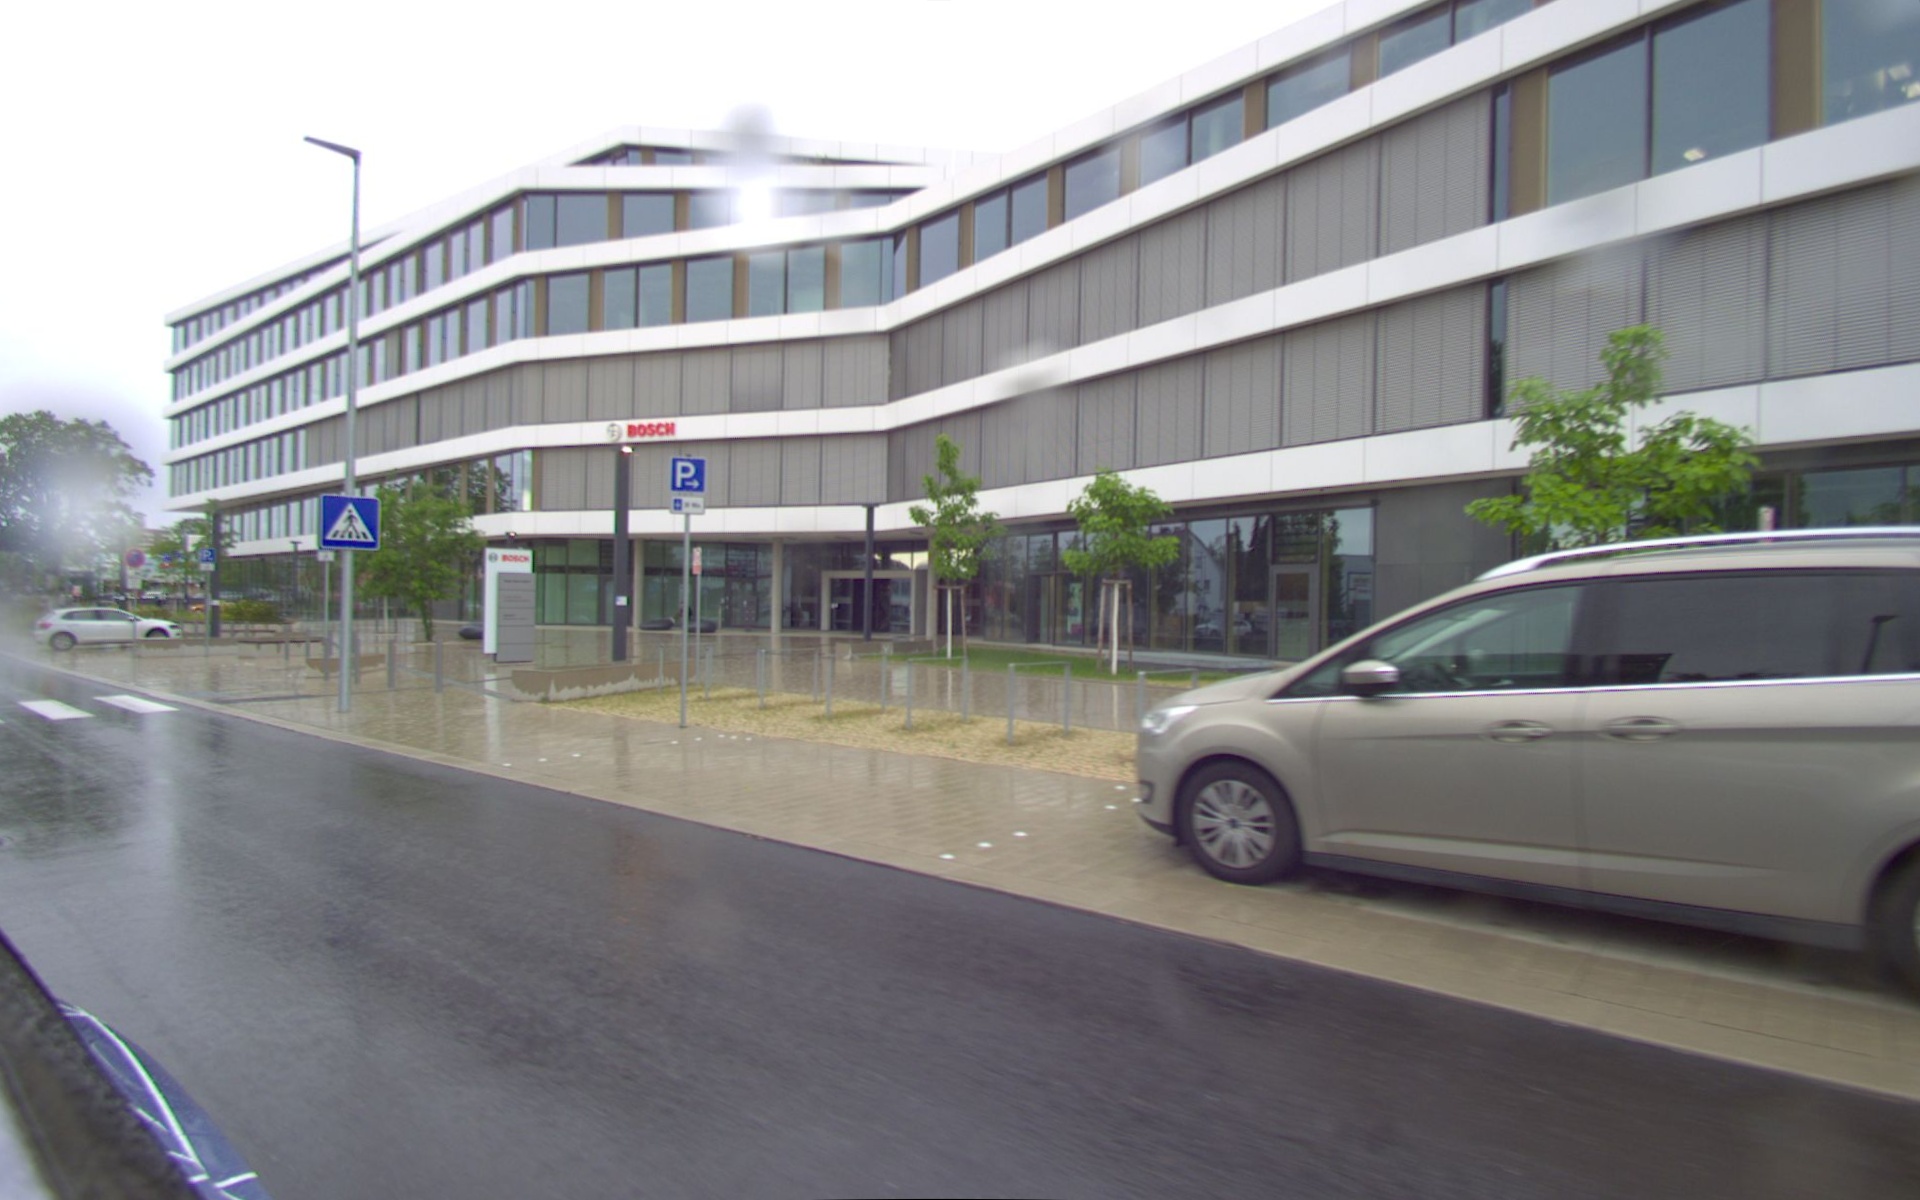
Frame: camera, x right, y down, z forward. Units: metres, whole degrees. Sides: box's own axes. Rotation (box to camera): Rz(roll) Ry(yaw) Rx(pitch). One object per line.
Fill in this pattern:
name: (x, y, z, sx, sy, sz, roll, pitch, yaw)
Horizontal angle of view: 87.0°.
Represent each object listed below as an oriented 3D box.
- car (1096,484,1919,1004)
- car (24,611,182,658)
car: (2.952, 0.503, 4.775, 4.322, 1.719, 1.817, -1, -2, 42)
car: (-30.170, 1.186, 35.701, 2.001, 1.430, 4.110, -2, 0, 45)
